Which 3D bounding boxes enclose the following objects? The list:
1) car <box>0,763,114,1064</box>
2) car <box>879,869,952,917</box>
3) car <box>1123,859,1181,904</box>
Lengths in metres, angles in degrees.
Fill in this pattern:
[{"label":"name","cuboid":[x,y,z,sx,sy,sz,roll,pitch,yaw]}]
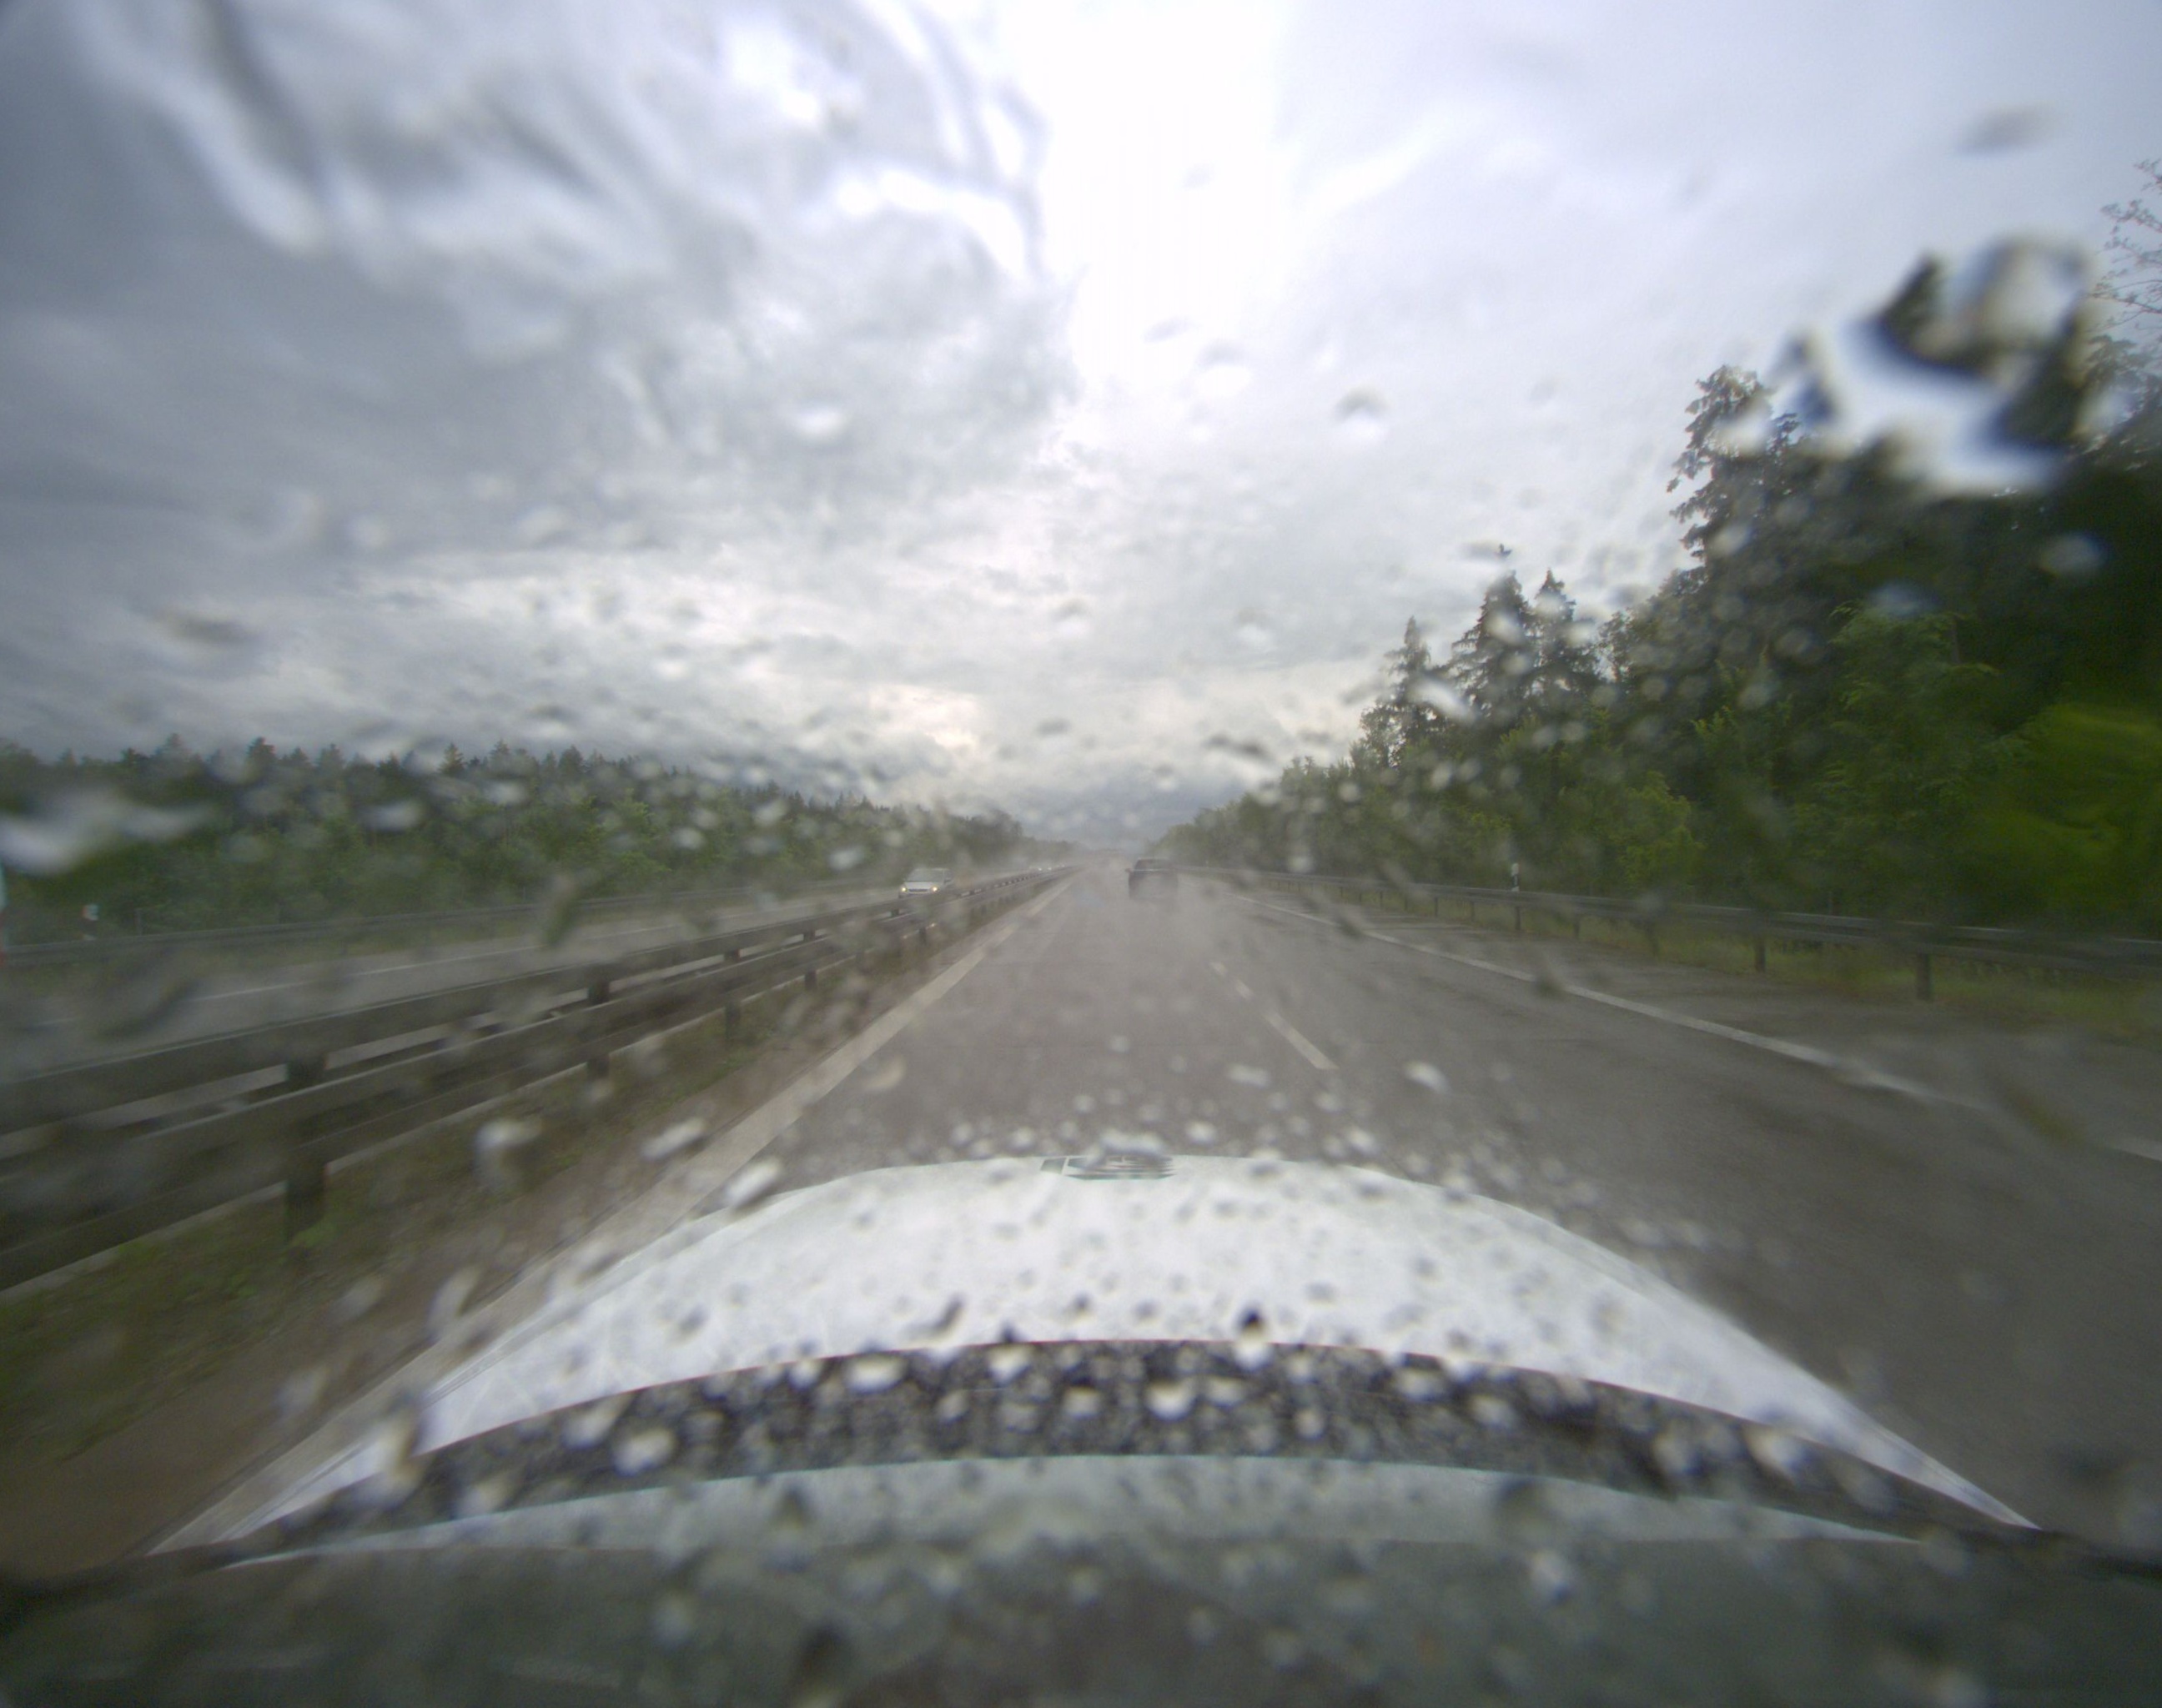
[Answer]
[{"label":"car","cuboid":[-11.139,0.566,4.866,2.342,2.749,6.877,-2,0,1]},{"label":"car","cuboid":[-5.869,1.342,29.345,1.763,1.418,4.603,-2,0,-2]},{"label":"car","cuboid":[2.629,1.035,30.727,1.888,1.576,3.631,-1,-2,0]}]
